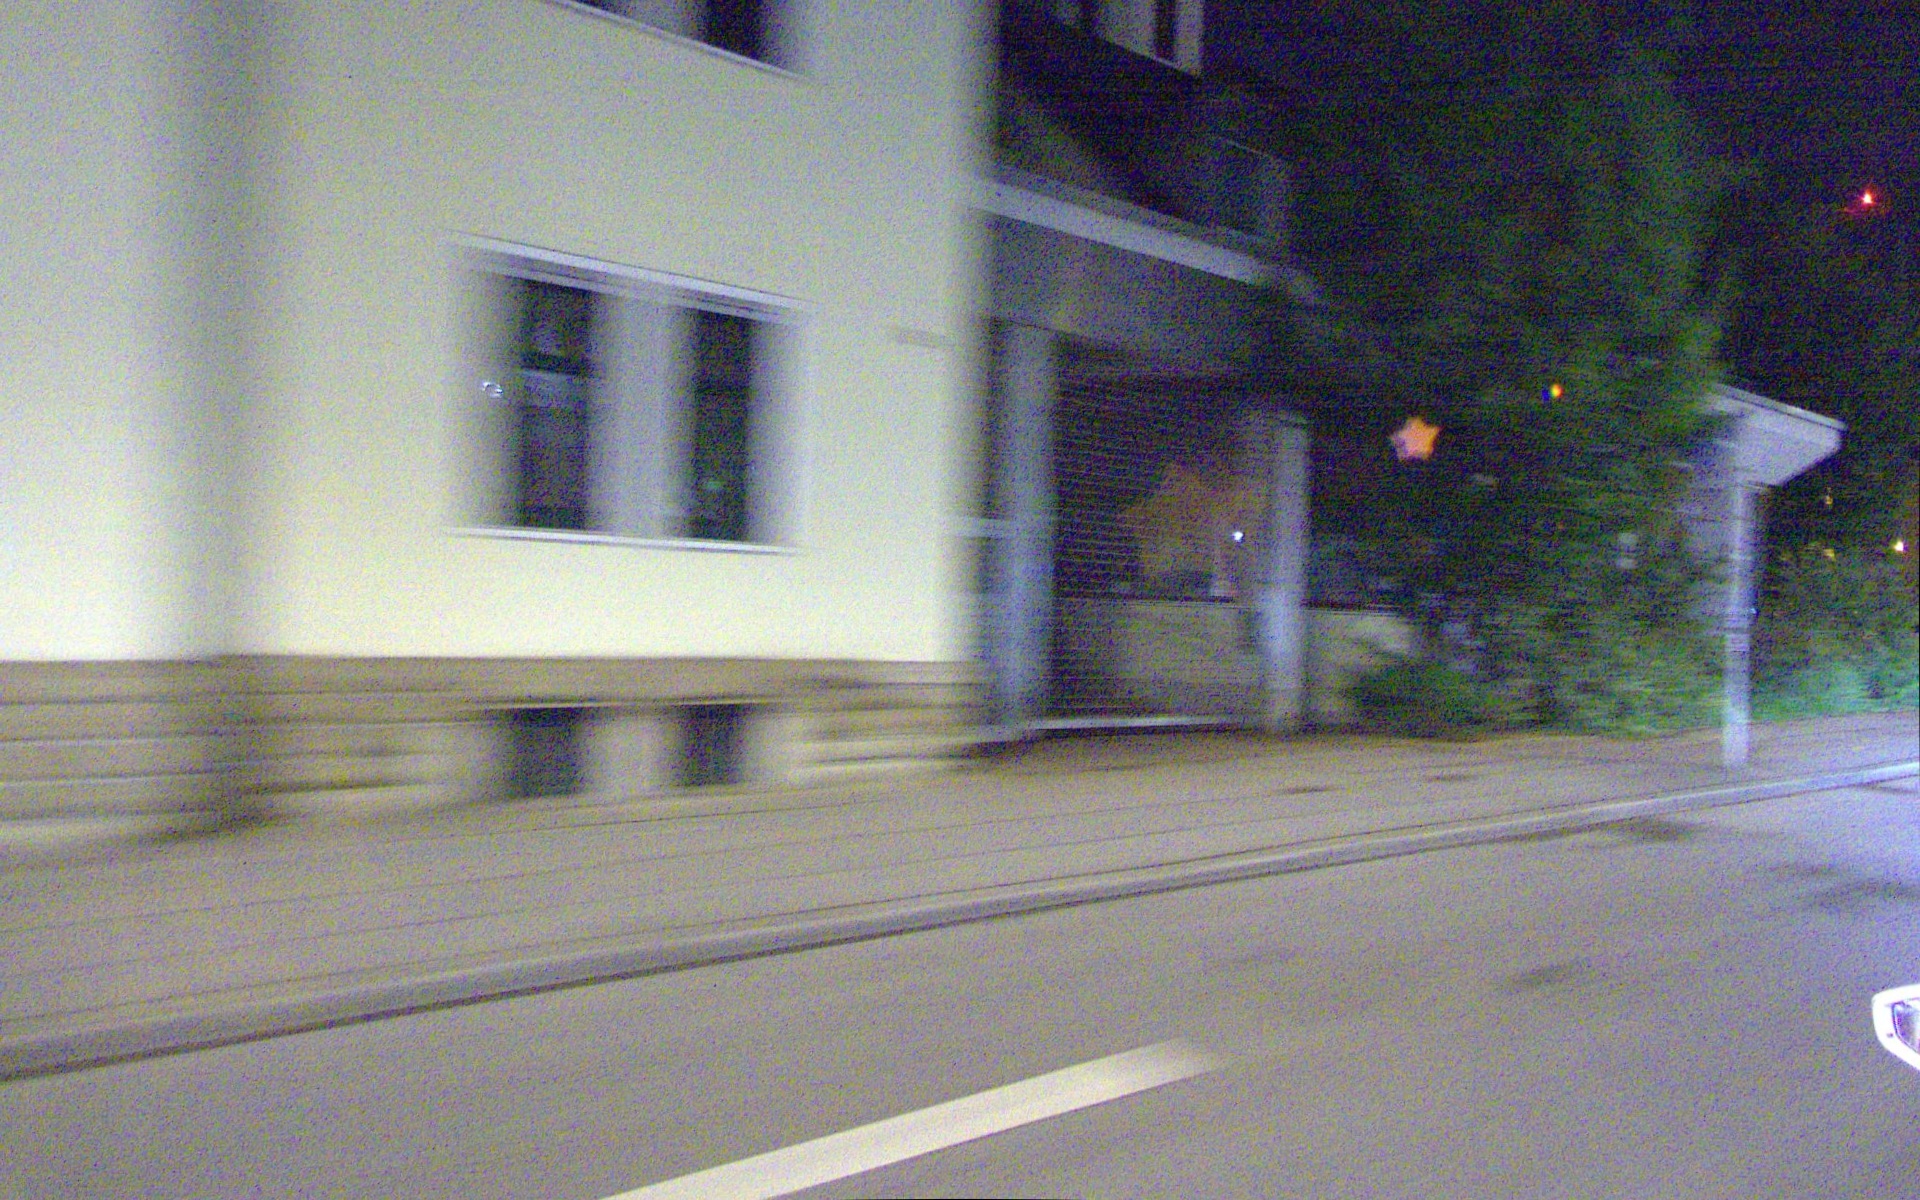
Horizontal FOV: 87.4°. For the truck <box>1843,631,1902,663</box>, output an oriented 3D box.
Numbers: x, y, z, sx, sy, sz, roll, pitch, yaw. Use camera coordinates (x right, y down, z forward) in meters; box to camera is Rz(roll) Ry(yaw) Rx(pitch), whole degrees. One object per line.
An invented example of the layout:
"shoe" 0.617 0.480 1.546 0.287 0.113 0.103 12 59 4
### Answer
"truck" 54.601 2.801 60.184 1.863 1.831 4.105 1 -2 32
